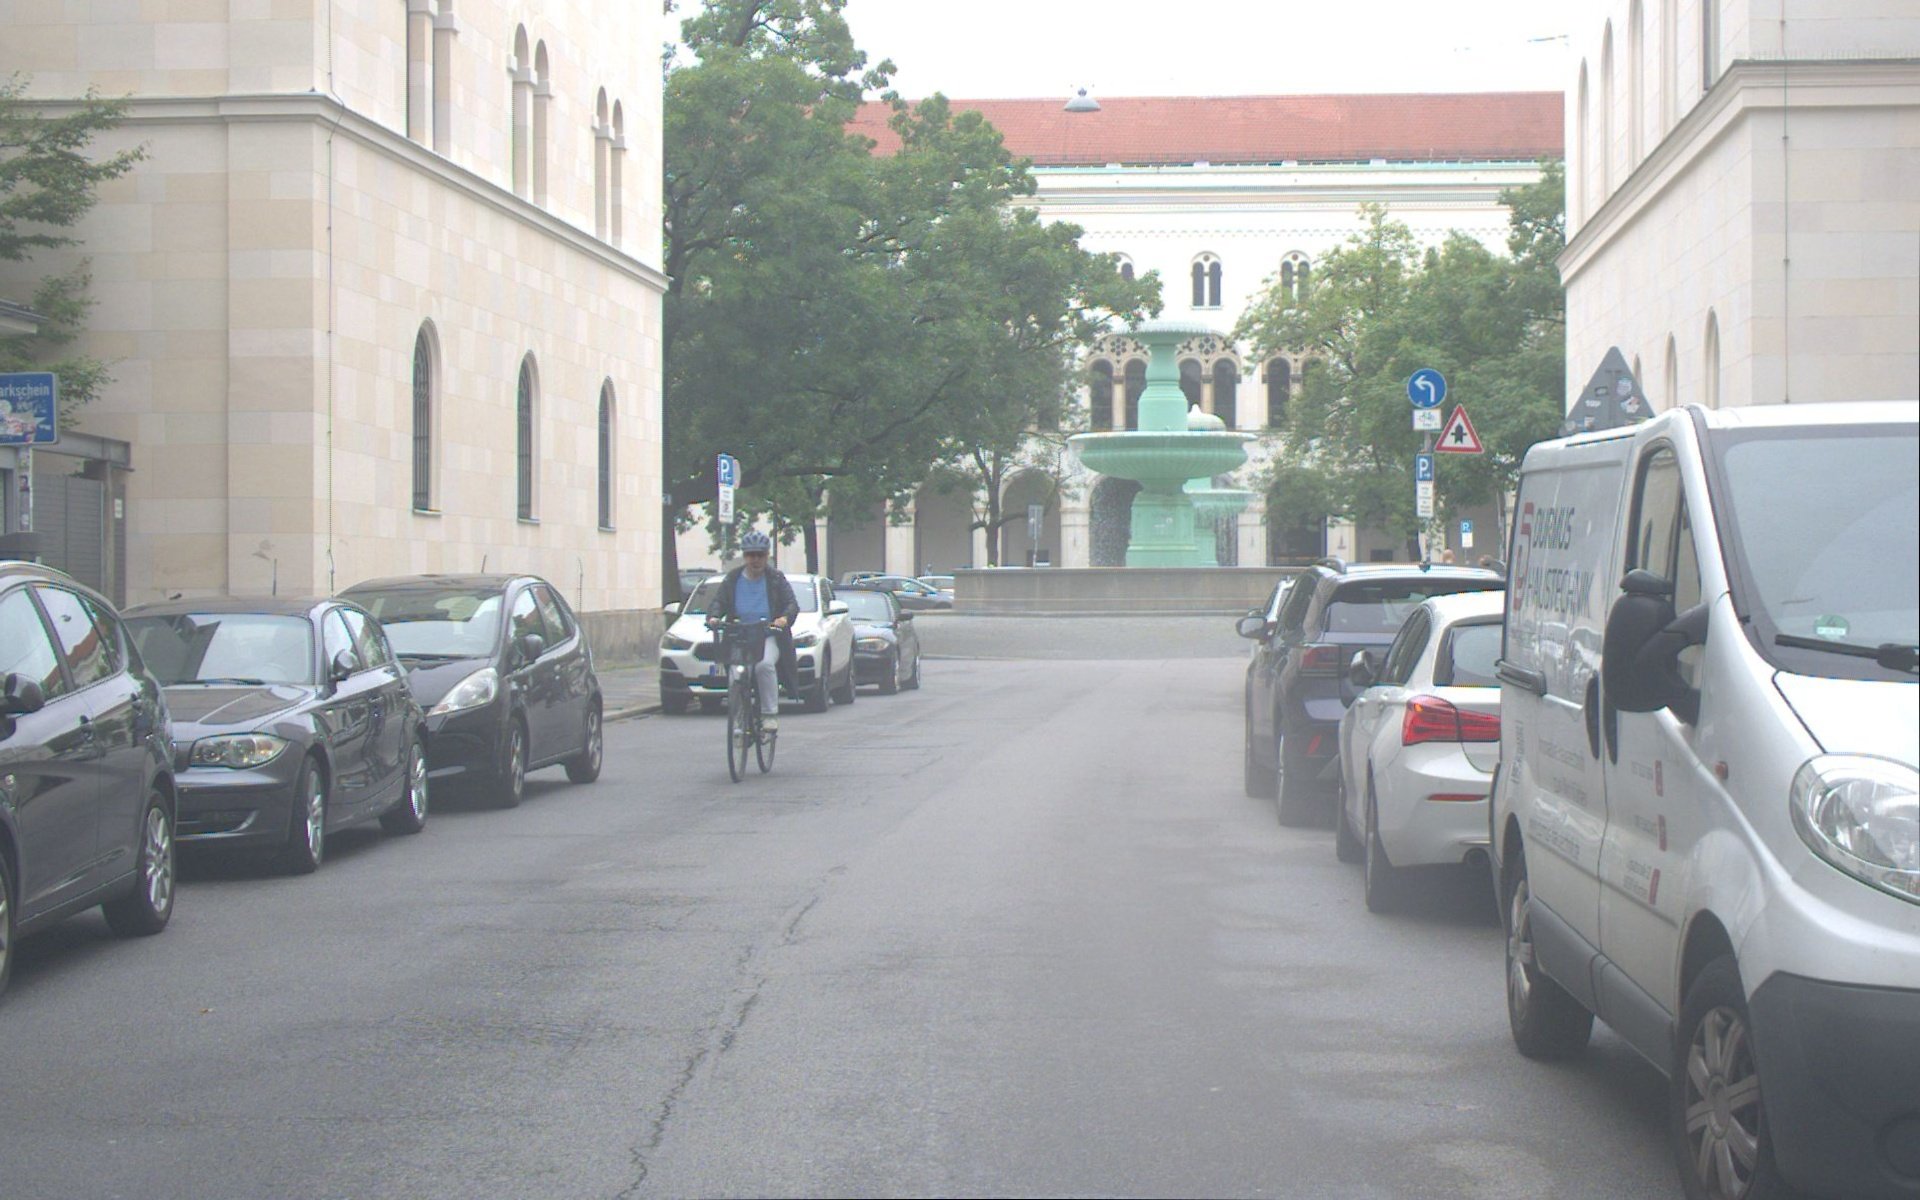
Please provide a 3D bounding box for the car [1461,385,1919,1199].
[{"bbox_3d":[2.555,0.514,9.081,1.882,1.918,4.874,0,1,2],"label":"car"}]

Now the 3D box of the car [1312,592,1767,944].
[{"bbox_3d":[2.634,0.694,16.466,1.673,1.412,4.201,1,1,3],"label":"car"}]

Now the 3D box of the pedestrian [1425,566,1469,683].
[{"bbox_3d":[7.597,0.377,53.624,0.642,1.802,0.489,0,1,11],"label":"pedestrian"}]

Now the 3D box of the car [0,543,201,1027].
[{"bbox_3d":[-4.282,0.644,13.103,1.872,1.652,4.080,-1,1,-1],"label":"car"}]

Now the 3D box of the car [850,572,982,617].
[{"bbox_3d":[-1.356,-0.169,107.502,3.987,1.371,2.000,0,1,4],"label":"car"}]

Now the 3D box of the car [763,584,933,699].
[{"bbox_3d":[-1.415,0.526,44.938,1.699,1.388,4.211,-1,0,5],"label":"car"}]

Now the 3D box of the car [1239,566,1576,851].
[{"bbox_3d":[2.693,0.600,21.463,1.747,1.588,3.955,1,0,3],"label":"car"}]

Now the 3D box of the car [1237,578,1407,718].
[{"bbox_3d":[4.096,0.505,39.089,1.789,1.471,4.312,1,0,6],"label":"car"}]

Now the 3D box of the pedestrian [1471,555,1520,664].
[{"bbox_3d":[8.379,0.148,53.801,0.620,1.676,0.545,1,1,-1],"label":"pedestrian"}]

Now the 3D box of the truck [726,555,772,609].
[{"bbox_3d":[-10.042,-0.871,163.198,1.993,2.480,4.001,1,1,-6],"label":"truck"}]

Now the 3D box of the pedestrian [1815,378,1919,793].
[{"bbox_3d":[5.144,-0.078,18.598,0.793,2.190,0.814,1,1,-1],"label":"pedestrian"}]

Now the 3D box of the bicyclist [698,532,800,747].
[{"bbox_3d":[-1.541,0.282,25.221,0.657,1.545,0.887,0,0,2],"label":"bicyclist"}]

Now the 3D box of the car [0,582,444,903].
[{"bbox_3d":[-4.074,0.684,18.593,1.751,1.448,4.015,-1,1,3],"label":"car"}]

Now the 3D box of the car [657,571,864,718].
[{"bbox_3d":[-2.183,0.484,38.732,1.778,1.529,4.211,-1,0,4],"label":"car"}]

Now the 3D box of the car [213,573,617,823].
[{"bbox_3d":[-3.586,0.599,23.344,1.751,1.448,4.015,-1,1,5],"label":"car"}]

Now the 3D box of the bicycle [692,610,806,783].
[{"bbox_3d":[-1.536,0.684,25.276,0.648,1.193,1.950,-1,0,2],"label":"bicycle"}]
